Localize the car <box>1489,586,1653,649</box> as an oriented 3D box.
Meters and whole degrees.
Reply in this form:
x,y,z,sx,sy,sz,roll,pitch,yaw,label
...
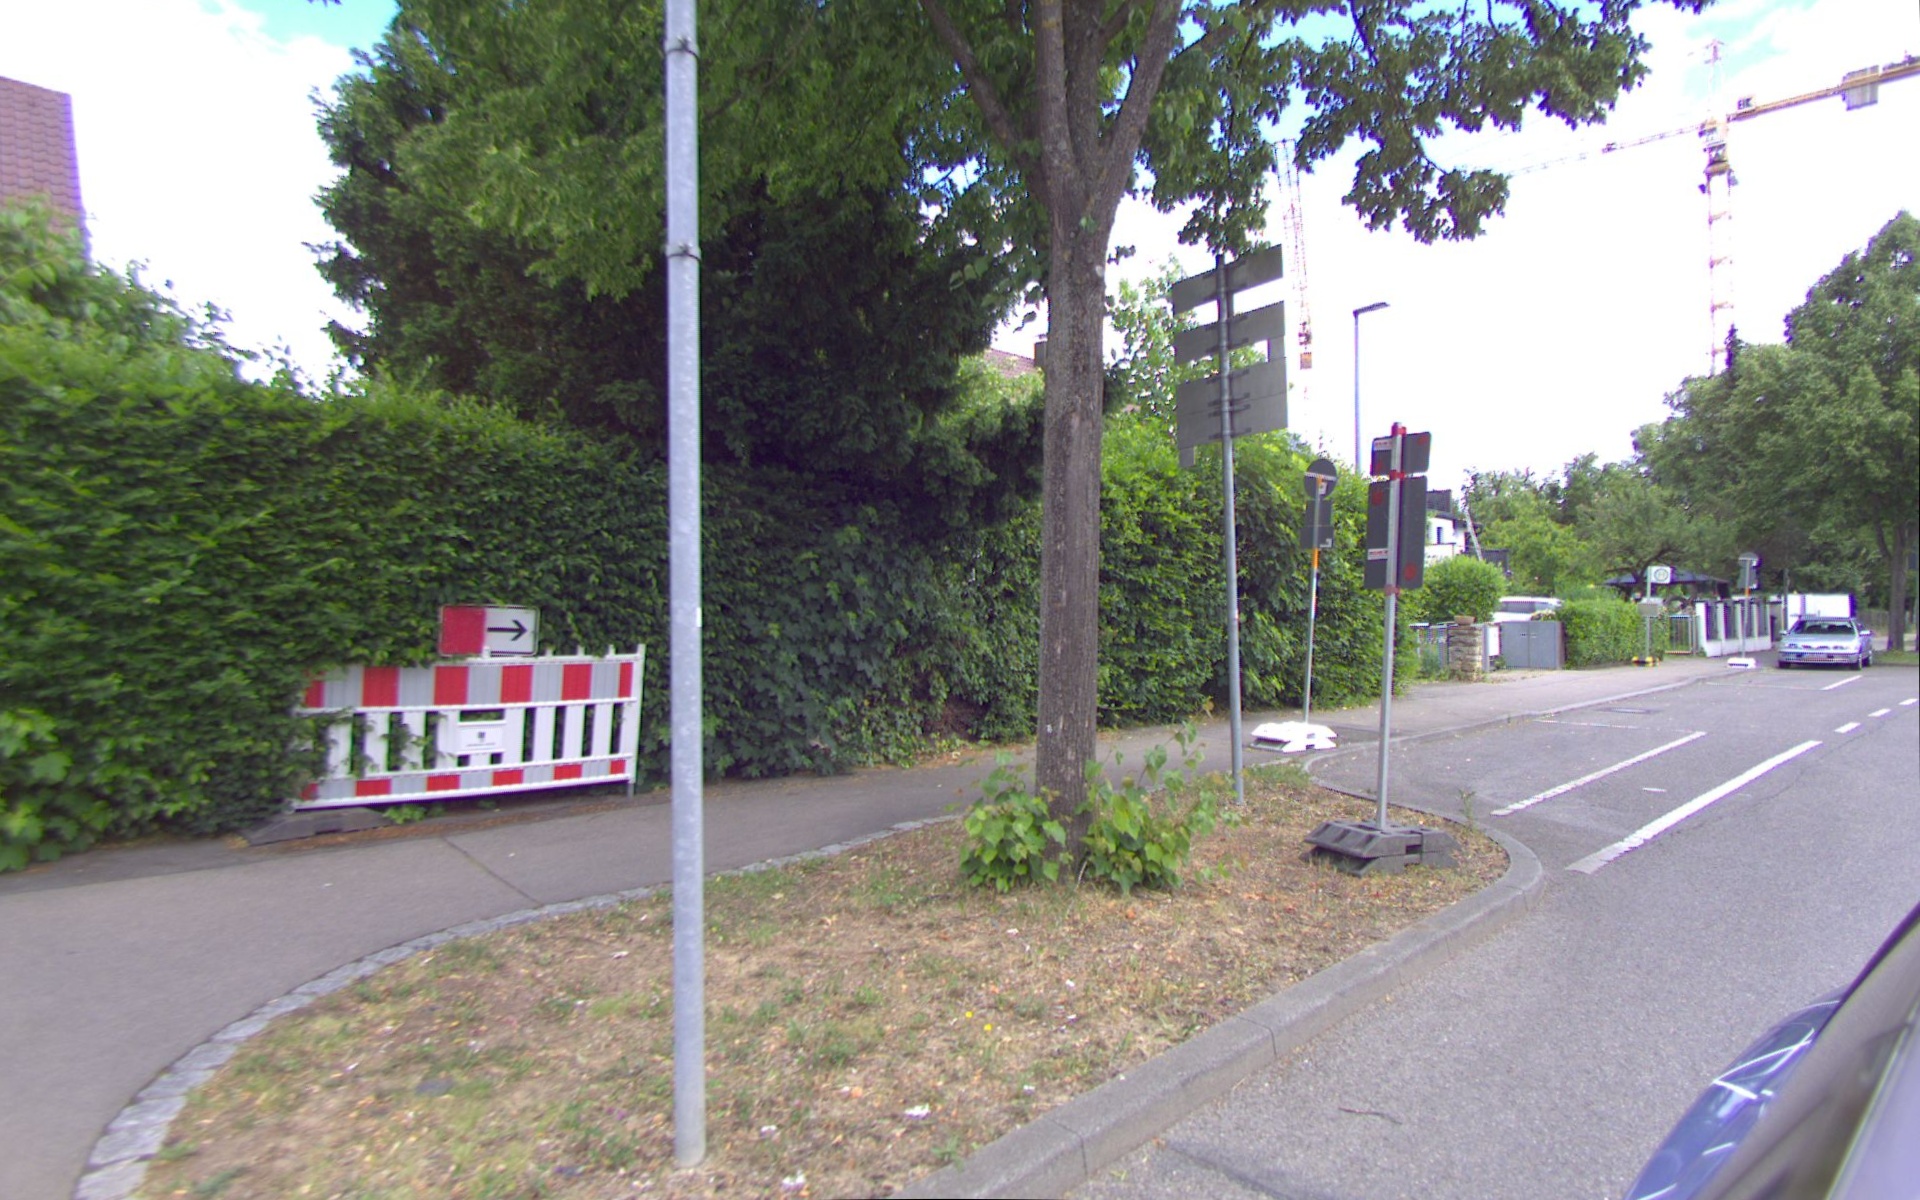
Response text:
x,y,z,sx,sy,sz,roll,pitch,yaw,label
18.992,0.524,31.567,1.967,1.846,3.990,1,-1,-43,car

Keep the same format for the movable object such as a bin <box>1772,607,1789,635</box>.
x,y,z,sx,sy,sz,roll,pitch,yaw,label
31.401,0.794,38.734,0.446,1.035,0.437,1,-1,-40,movable object such as a bin

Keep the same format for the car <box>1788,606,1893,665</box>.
x,y,z,sx,sy,sz,roll,pitch,yaw,label
24.130,0.909,27.680,4.312,1.394,1.614,-2,0,-41,car
